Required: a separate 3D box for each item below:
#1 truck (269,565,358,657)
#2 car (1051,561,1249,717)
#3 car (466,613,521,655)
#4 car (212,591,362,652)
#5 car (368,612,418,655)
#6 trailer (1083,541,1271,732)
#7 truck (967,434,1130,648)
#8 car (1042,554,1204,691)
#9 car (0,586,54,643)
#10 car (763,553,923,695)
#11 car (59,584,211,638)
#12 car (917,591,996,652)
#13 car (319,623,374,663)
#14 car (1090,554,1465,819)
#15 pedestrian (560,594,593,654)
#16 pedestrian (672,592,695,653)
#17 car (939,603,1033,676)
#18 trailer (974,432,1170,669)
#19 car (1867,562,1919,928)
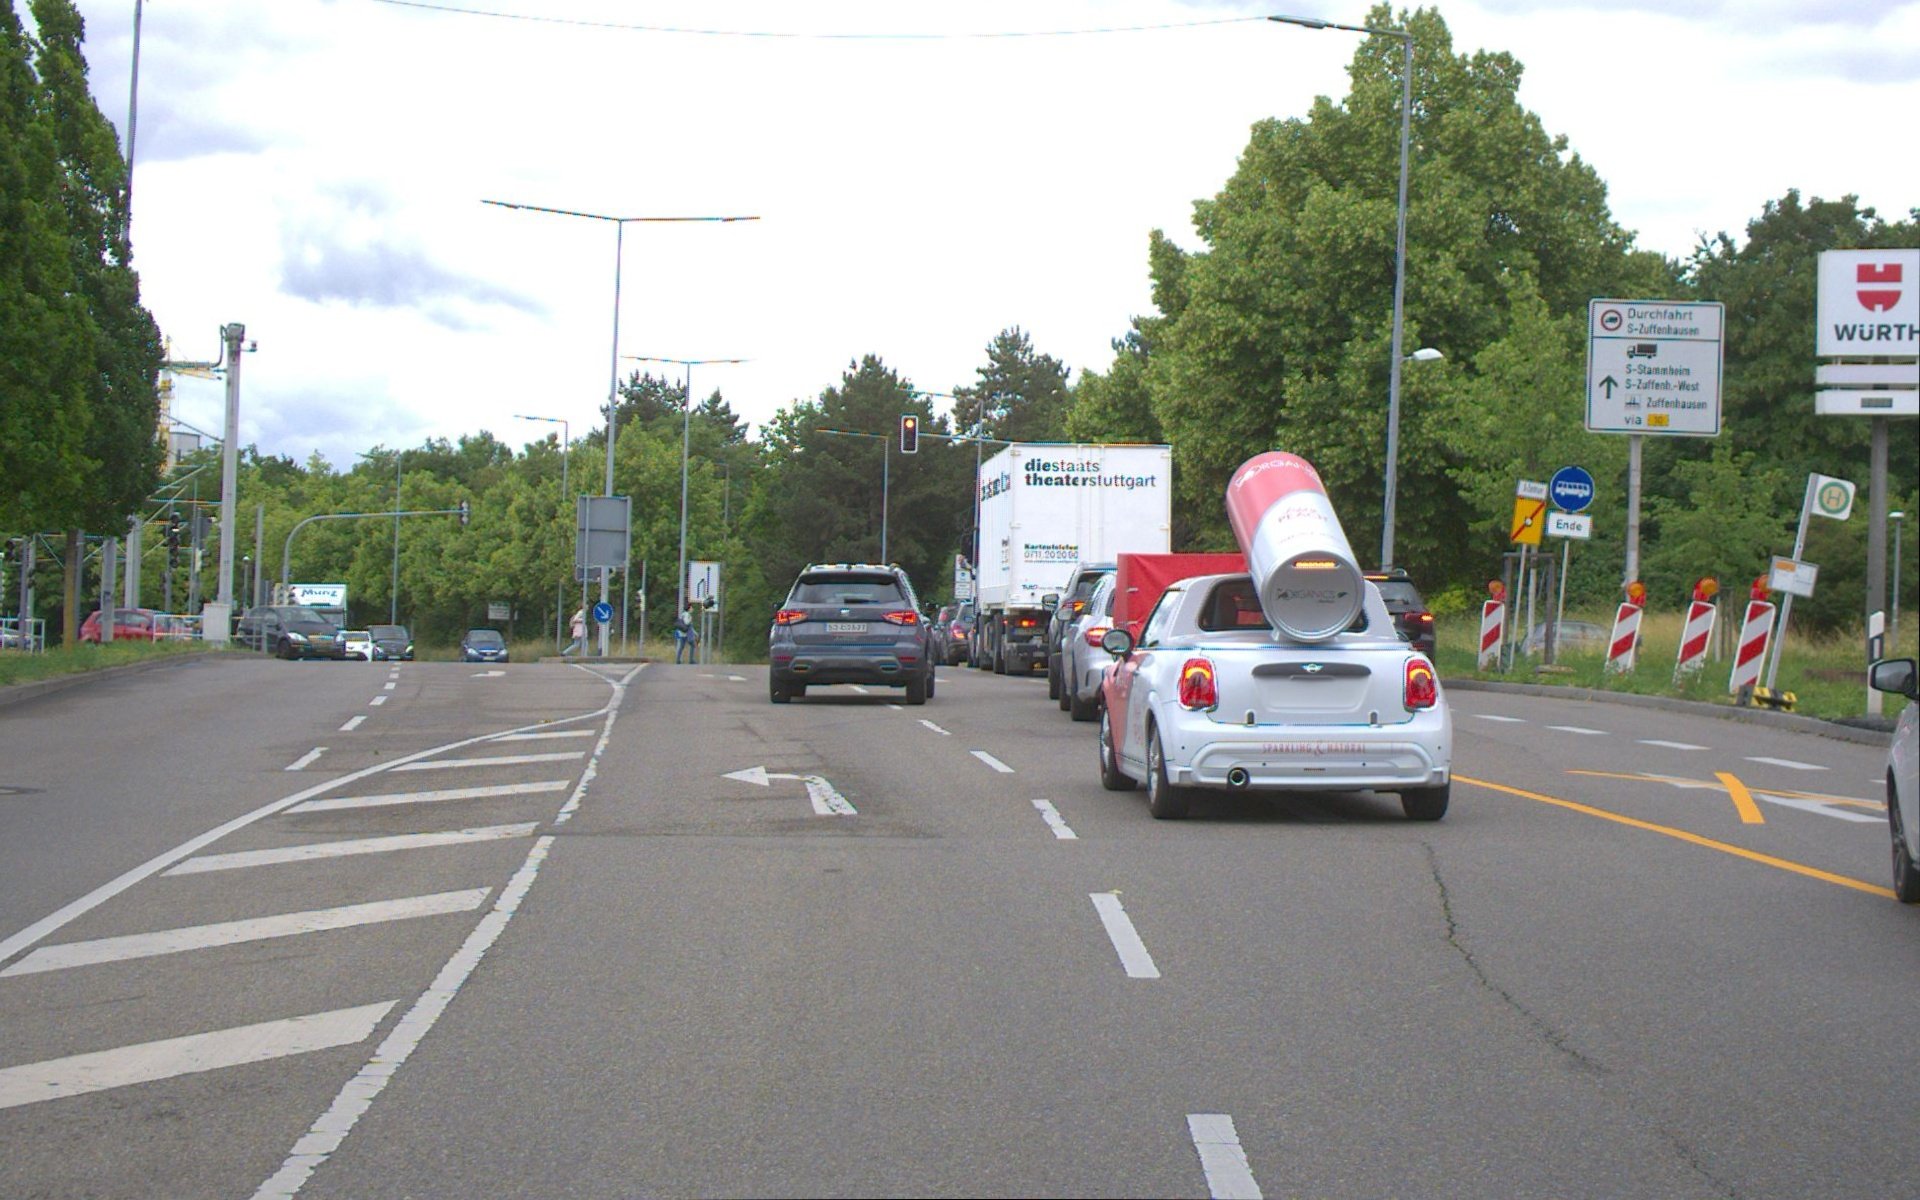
[{"bbox_3d":[-28.426,0.435,150.789,2.659,3.636,9.506,2,1,-17],"label":"truck"},{"bbox_3d":[1.845,0.354,34.518,1.671,1.442,4.489,1,0,-1],"label":"car"},{"bbox_3d":[-19.432,1.400,143.382,1.915,1.571,4.001,1,2,-3],"label":"car"},{"bbox_3d":[-18.639,0.589,95.173,3.699,1.568,1.729,1,-1,23],"label":"car"},{"bbox_3d":[-24.590,1.436,149.281,1.915,1.722,4.001,-1,1,-6],"label":"car"},{"bbox_3d":[1.887,0.290,30.612,1.409,1.588,3.303,1,1,-1],"label":"trailer"},{"bbox_3d":[1.544,-1.103,61.934,2.570,3.692,4.107,1,2,-3],"label":"truck"},{"bbox_3d":[1.924,0.240,41.518,1.845,1.556,4.404,0,0,2],"label":"car"},{"bbox_3d":[-29.326,0.392,102.576,3.987,1.590,2.000,1,2,5],"label":"car"},{"bbox_3d":[-1.344,0.229,38.795,1.698,1.481,4.001,0,1,-3],"label":"car"},{"bbox_3d":[-24.347,0.323,101.434,4.077,1.483,1.706,1,-1,21],"label":"car"},{"bbox_3d":[-0.104,0.525,82.401,1.545,1.399,4.000,1,-1,-5],"label":"car"},{"bbox_3d":[-25.349,1.763,142.192,1.775,1.503,3.747,-1,1,-3],"label":"car"},{"bbox_3d":[1.843,0.475,21.002,1.718,1.452,3.697,1,0,-3],"label":"car"},{"bbox_3d":[-10.076,0.632,90.335,0.863,1.555,0.518,1,2,-6],"label":"pedestrian"},{"bbox_3d":[-7.438,0.607,92.546,0.586,1.616,0.423,1,2,-6],"label":"pedestrian"},{"bbox_3d":[0.510,0.796,71.428,1.812,1.349,4.118,0,1,-1],"label":"car"},{"bbox_3d":[1.774,-0.947,58.014,2.565,3.692,7.766,1,2,-3],"label":"trailer"},{"bbox_3d":[4.687,0.598,13.814,1.624,1.452,3.687,1,1,9],"label":"car"}]
